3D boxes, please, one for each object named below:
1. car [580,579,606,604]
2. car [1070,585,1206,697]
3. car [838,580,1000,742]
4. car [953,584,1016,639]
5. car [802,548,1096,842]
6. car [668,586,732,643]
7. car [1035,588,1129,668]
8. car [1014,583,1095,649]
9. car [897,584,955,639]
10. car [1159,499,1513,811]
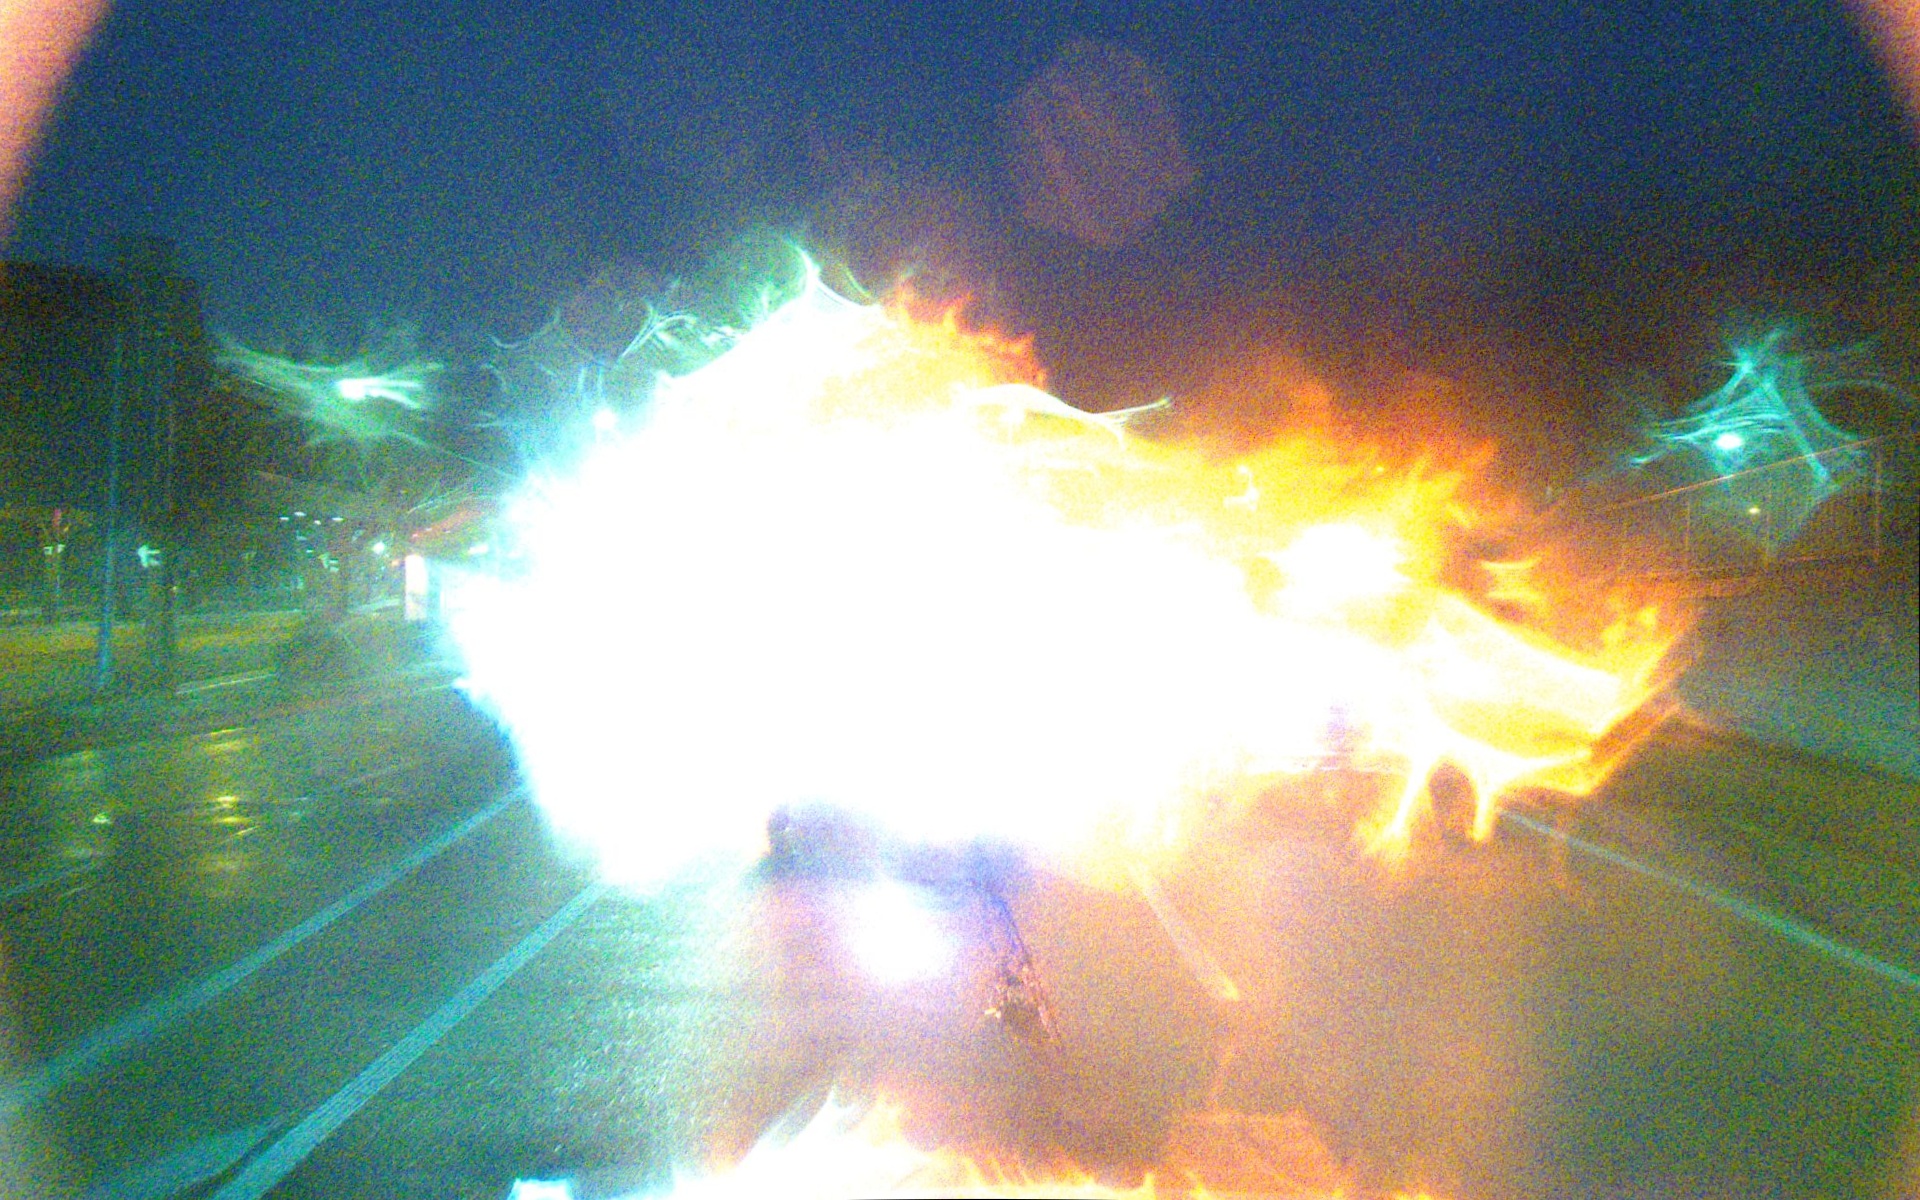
[{"bbox_3d":[-29.466,-0.683,132.728,1.958,1.945,4.729,0,0,-12],"label":"car"},{"bbox_3d":[2.543,0.532,24.465,1.731,1.475,4.220,0,1,2],"label":"car"},{"bbox_3d":[-0.440,0.620,19.295,1.674,1.666,3.730,-1,1,0],"label":"car"},{"bbox_3d":[0.644,0.313,46.234,1.629,1.475,4.049,0,0,-1],"label":"car"},{"bbox_3d":[-0.084,0.542,11.354,1.660,1.658,3.852,1,0,-1],"label":"car"},{"bbox_3d":[-9.202,0.469,58.841,1.955,1.945,4.738,0,0,-5],"label":"car"},{"bbox_3d":[2.354,0.526,32.739,1.629,1.475,4.050,0,0,1],"label":"car"},{"bbox_3d":[2.197,0.333,39.309,1.629,1.475,4.049,0,1,-1],"label":"car"},{"bbox_3d":[-1.136,0.338,53.530,1.675,1.666,3.727,-1,1,-4],"label":"car"},{"bbox_3d":[2.678,0.322,12.785,1.902,2.006,4.219,0,1,2],"label":"car"}]
